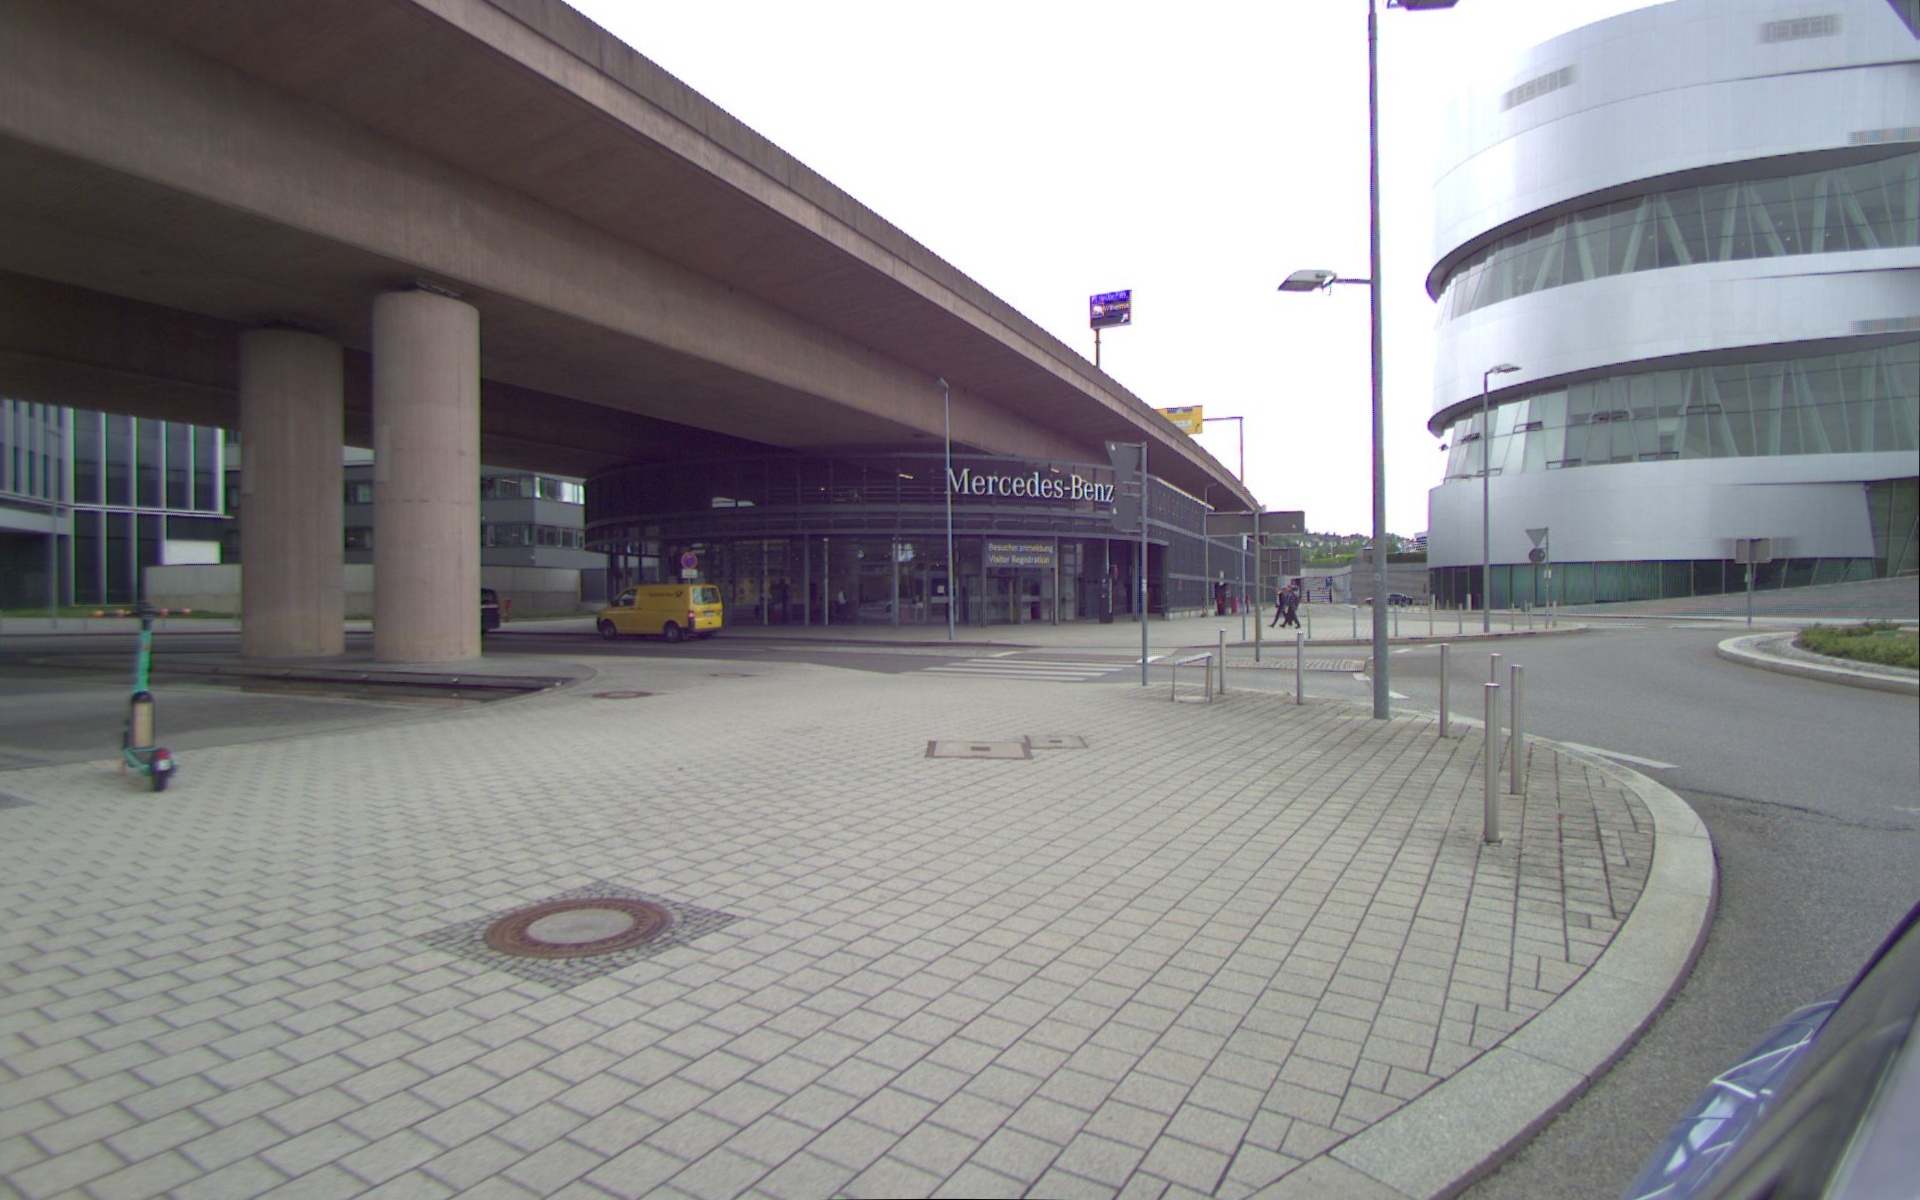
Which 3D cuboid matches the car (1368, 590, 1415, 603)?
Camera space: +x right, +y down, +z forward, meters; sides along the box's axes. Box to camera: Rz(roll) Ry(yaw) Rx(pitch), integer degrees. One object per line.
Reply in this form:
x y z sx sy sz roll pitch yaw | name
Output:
49.532 -0.397 116.207 4.849 1.416 1.524 0 -1 22 | car

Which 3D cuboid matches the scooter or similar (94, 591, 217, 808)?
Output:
-5.611 0.610 7.023 0.510 1.312 1.645 2 0 -43 | scooter or similar

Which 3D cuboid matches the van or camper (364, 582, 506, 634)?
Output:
-20.225 0.290 39.019 4.839 1.917 2.140 0 -1 20 | van or camper

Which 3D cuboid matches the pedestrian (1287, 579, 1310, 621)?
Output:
13.886 0.001 41.582 0.760 1.727 0.863 0 -1 10 | pedestrian

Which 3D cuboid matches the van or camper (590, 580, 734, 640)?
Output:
-10.539 0.303 35.840 4.455 2.024 2.343 0 1 24 | van or camper

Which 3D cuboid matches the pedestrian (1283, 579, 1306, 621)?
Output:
14.024 -0.001 42.457 0.759 1.727 0.785 0 -1 8 | pedestrian

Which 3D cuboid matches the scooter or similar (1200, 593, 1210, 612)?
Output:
14.933 0.161 61.642 0.377 1.137 1.416 0 -1 23 | scooter or similar

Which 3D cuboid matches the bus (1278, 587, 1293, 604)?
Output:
69.686 -1.019 216.900 2.892 3.485 6.927 0 -1 17 | bus

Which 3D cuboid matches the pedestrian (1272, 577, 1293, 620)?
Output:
13.879 -0.067 43.551 0.771 1.821 0.862 0 -1 13 | pedestrian
